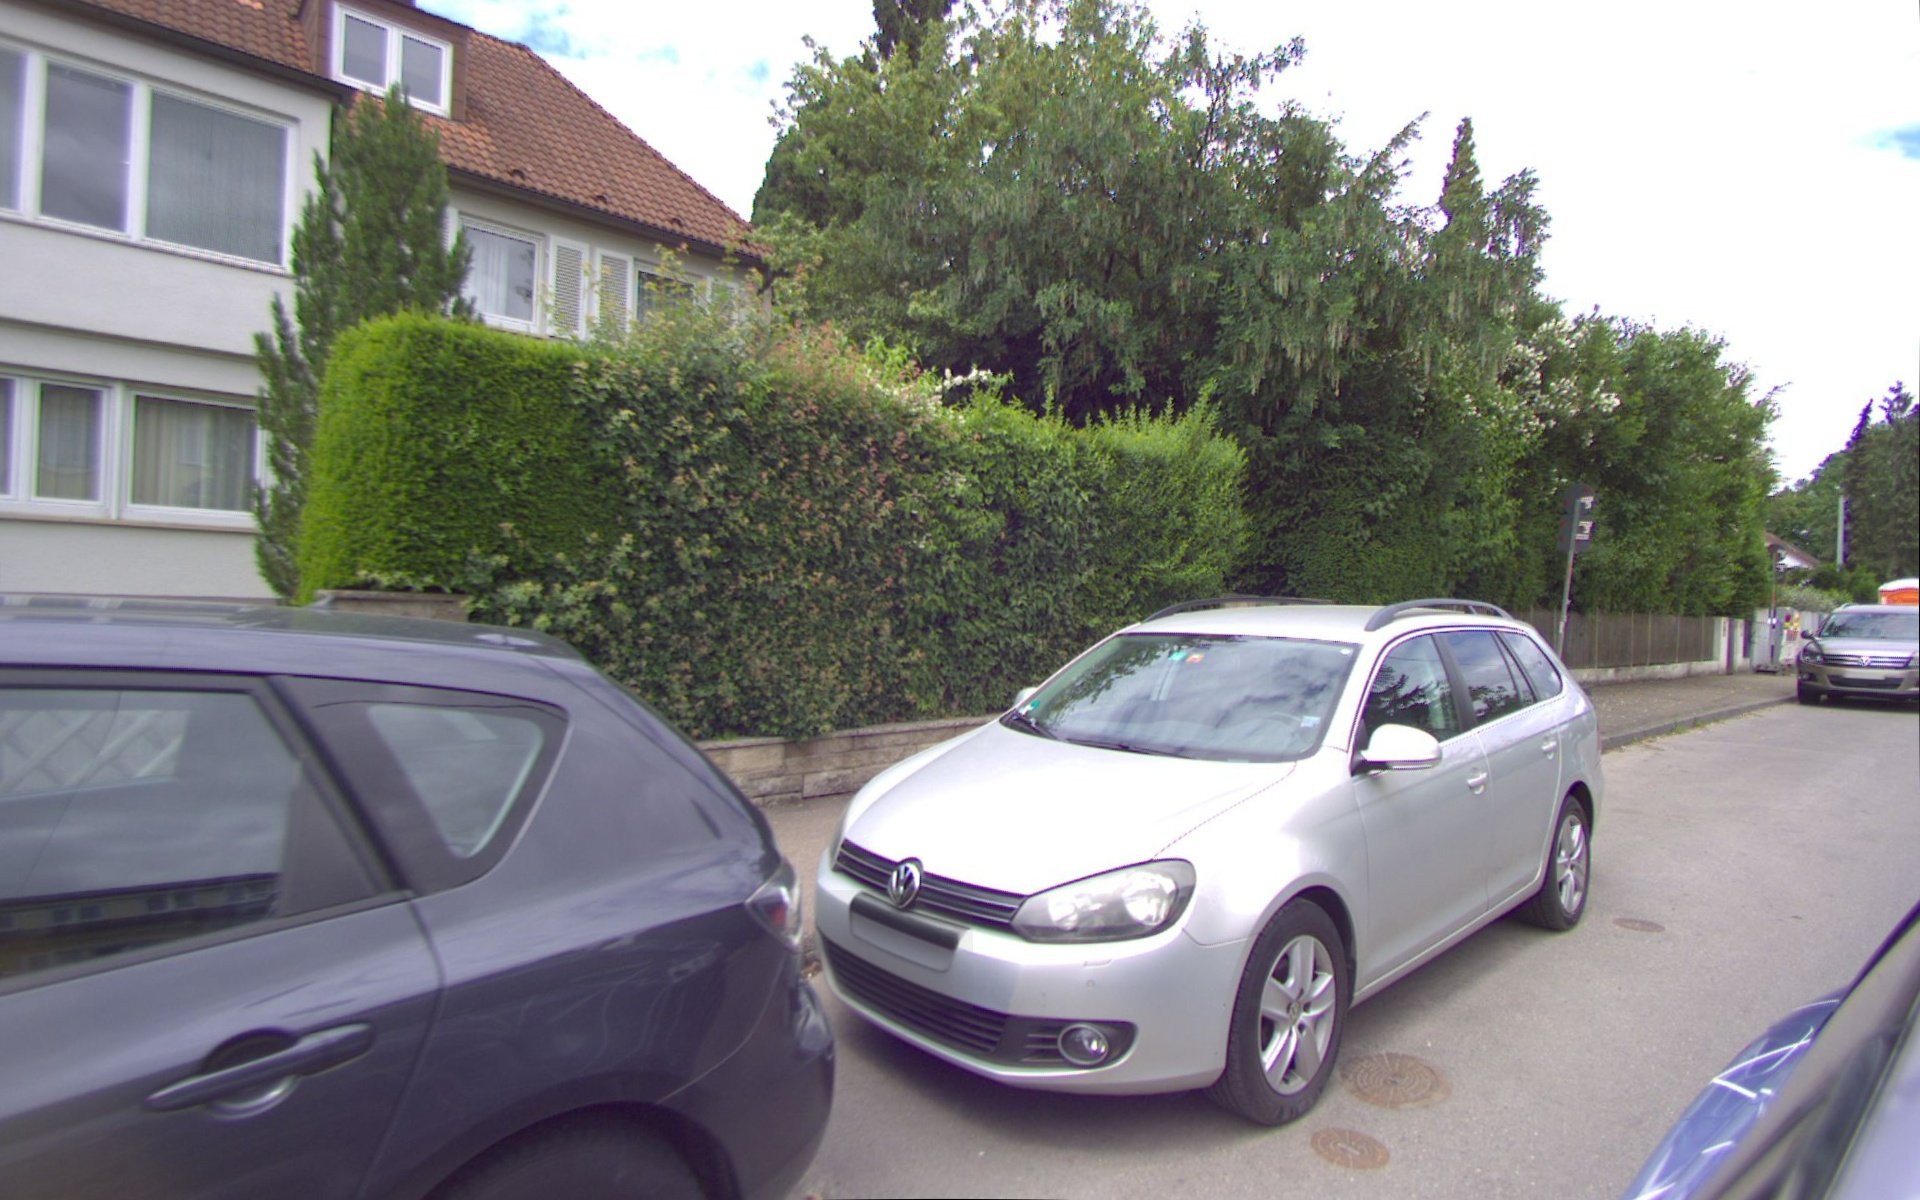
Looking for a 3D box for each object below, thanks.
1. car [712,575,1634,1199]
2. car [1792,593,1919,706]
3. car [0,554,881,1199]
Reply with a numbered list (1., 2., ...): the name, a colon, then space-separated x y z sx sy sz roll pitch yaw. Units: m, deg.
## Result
1. car: 1.292 0.685 4.355 4.284 1.496 1.758 0 0 -43
2. car: 15.260 0.754 16.610 4.054 1.653 1.876 1 -1 -42
3. car: -2.210 0.675 1.173 4.072 1.478 1.718 0 0 -44
